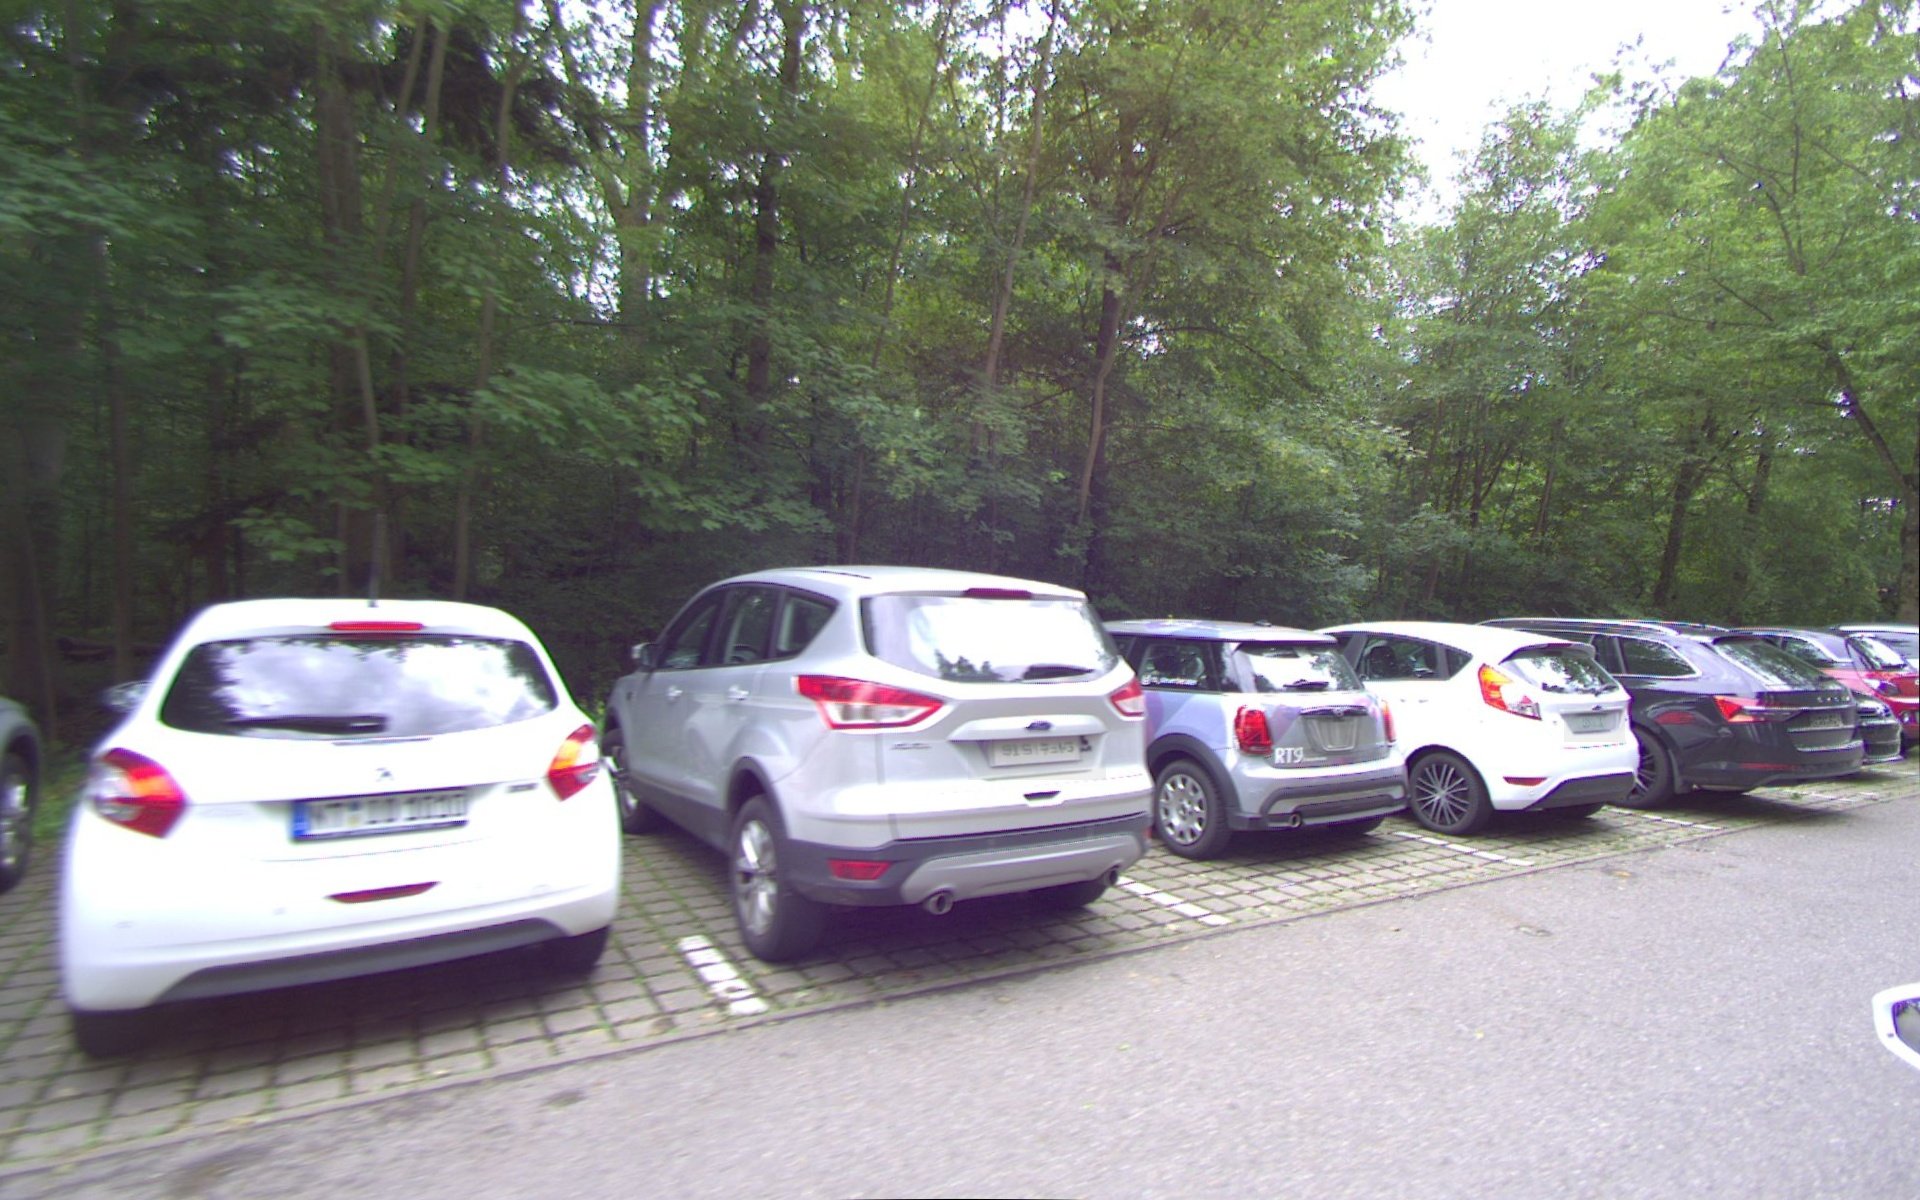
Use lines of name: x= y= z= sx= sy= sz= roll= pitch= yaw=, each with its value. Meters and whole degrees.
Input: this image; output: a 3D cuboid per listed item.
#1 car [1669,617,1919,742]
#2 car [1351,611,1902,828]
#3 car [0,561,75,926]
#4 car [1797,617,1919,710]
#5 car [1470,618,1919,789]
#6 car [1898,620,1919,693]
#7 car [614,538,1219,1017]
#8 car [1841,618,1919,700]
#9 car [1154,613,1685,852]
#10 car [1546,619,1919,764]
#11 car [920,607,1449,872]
car: x=12.414 y=1.046 z=13.856 sx=1.694 sy=1.487 sz=3.968 roll=1 pitch=1 yaw=-29
car: x=5.836 y=0.888 z=9.368 sx=1.656 sy=1.455 sz=3.971 roll=1 pitch=1 yaw=-27
car: x=-4.761 y=0.642 z=3.375 sx=1.792 sy=1.684 sz=3.970 roll=1 pitch=-1 yaw=-28
car: x=16.539 y=1.079 z=16.464 sx=1.694 sy=1.457 sz=3.969 roll=1 pitch=1 yaw=-29
car: x=8.159 y=0.999 z=11.446 sx=1.656 sy=1.455 sz=3.971 roll=1 pitch=1 yaw=-27
car: x=20.774 y=1.192 z=19.114 sx=1.598 sy=1.457 sz=3.969 roll=1 pitch=1 yaw=-29
car: x=-0.624 y=0.640 z=5.714 sx=1.793 sy=1.684 sz=3.967 roll=1 pitch=0 yaw=-30
car: x=18.728 y=1.127 z=18.076 sx=1.712 sy=1.457 sz=3.969 roll=1 pitch=1 yaw=-29
car: x=3.581 y=0.915 z=8.621 sx=1.628 sy=1.454 sz=3.971 roll=3 pitch=-1 yaw=-27
car: x=10.142 y=1.050 z=13.156 sx=1.680 sy=1.455 sz=3.971 roll=1 pitch=1 yaw=-27
car: x=1.417 y=0.818 z=7.815 sx=1.793 sy=1.440 sz=3.967 roll=2 pitch=0 yaw=-30
